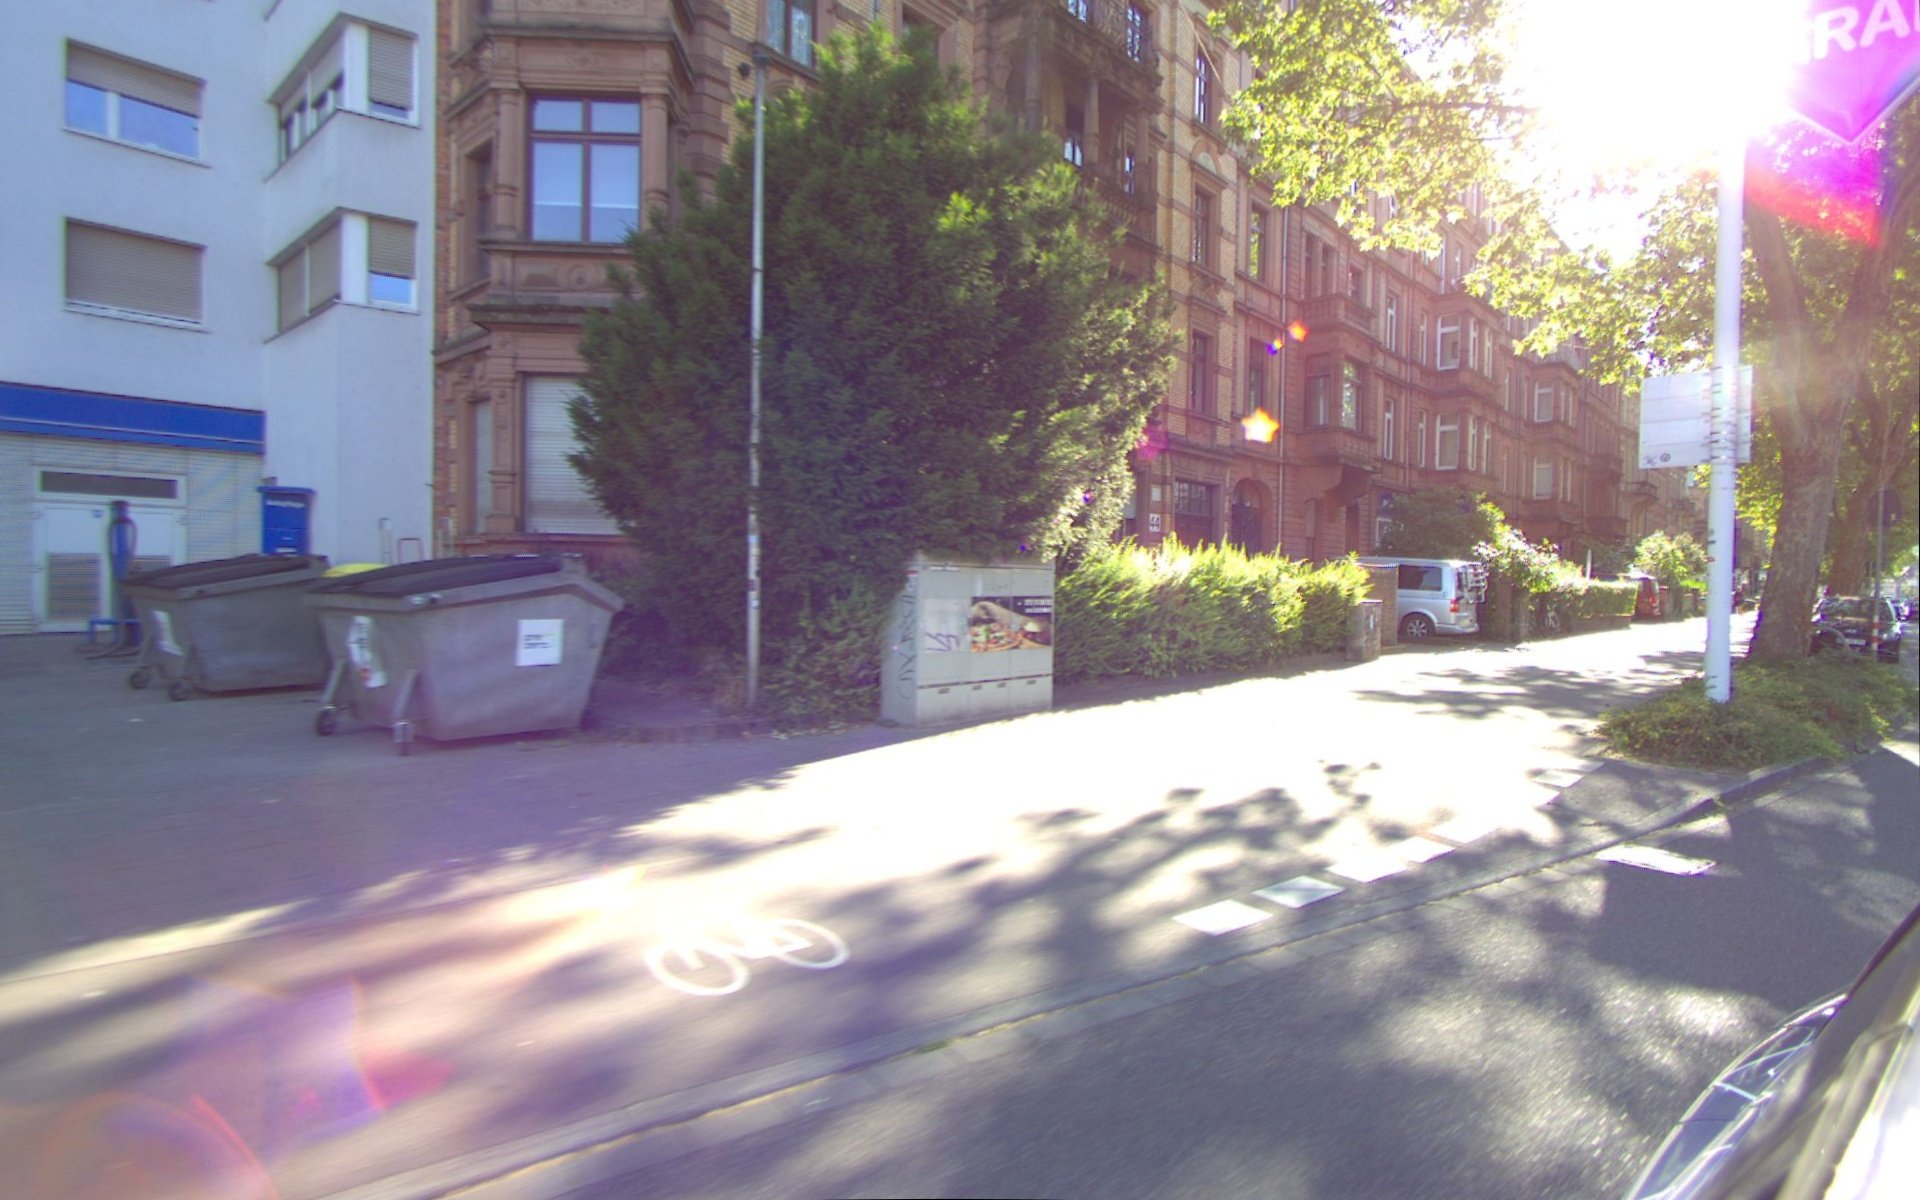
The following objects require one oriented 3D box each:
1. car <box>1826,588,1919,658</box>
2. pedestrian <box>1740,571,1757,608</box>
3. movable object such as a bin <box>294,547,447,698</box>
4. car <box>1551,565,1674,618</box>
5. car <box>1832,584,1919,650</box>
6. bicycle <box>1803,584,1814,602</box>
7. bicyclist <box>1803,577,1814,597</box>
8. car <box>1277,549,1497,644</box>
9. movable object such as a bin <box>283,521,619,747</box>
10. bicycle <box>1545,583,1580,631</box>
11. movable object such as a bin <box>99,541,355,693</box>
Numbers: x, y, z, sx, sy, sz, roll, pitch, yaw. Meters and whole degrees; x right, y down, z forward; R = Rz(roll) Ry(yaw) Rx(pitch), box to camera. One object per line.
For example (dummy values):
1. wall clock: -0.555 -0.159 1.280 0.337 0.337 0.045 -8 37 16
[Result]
1. car: 22.104 0.489 24.524 1.551 1.517 3.989 3 2 42
2. pedestrian: 44.190 -0.596 56.709 0.672 2.039 0.623 2 1 43
3. movable object such as a bin: -5.957 0.194 10.229 1.185 1.406 1.014 1 1 41
4. car: 28.477 -0.414 44.244 4.175 2.038 1.970 5 4 42
5. car: 24.941 0.411 27.612 1.616 1.606 4.350 3 2 42
6. bicycle: 60.559 -0.501 72.213 0.560 1.193 2.193 -1 0 41
7. bicyclist: 60.593 -0.936 72.259 0.542 1.398 0.634 -2 -3 41
8. car: 10.405 -0.167 24.875 4.573 2.038 1.885 4 3 43
9. movable object such as a bin: -4.062 0.199 8.084 2.032 1.509 1.721 1 1 39
10. bicycle: 16.504 0.181 27.698 1.737 1.266 0.338 0 -1 -44
11. movable object such as a bin: -7.935 0.132 10.947 2.205 1.441 1.753 2 1 39
